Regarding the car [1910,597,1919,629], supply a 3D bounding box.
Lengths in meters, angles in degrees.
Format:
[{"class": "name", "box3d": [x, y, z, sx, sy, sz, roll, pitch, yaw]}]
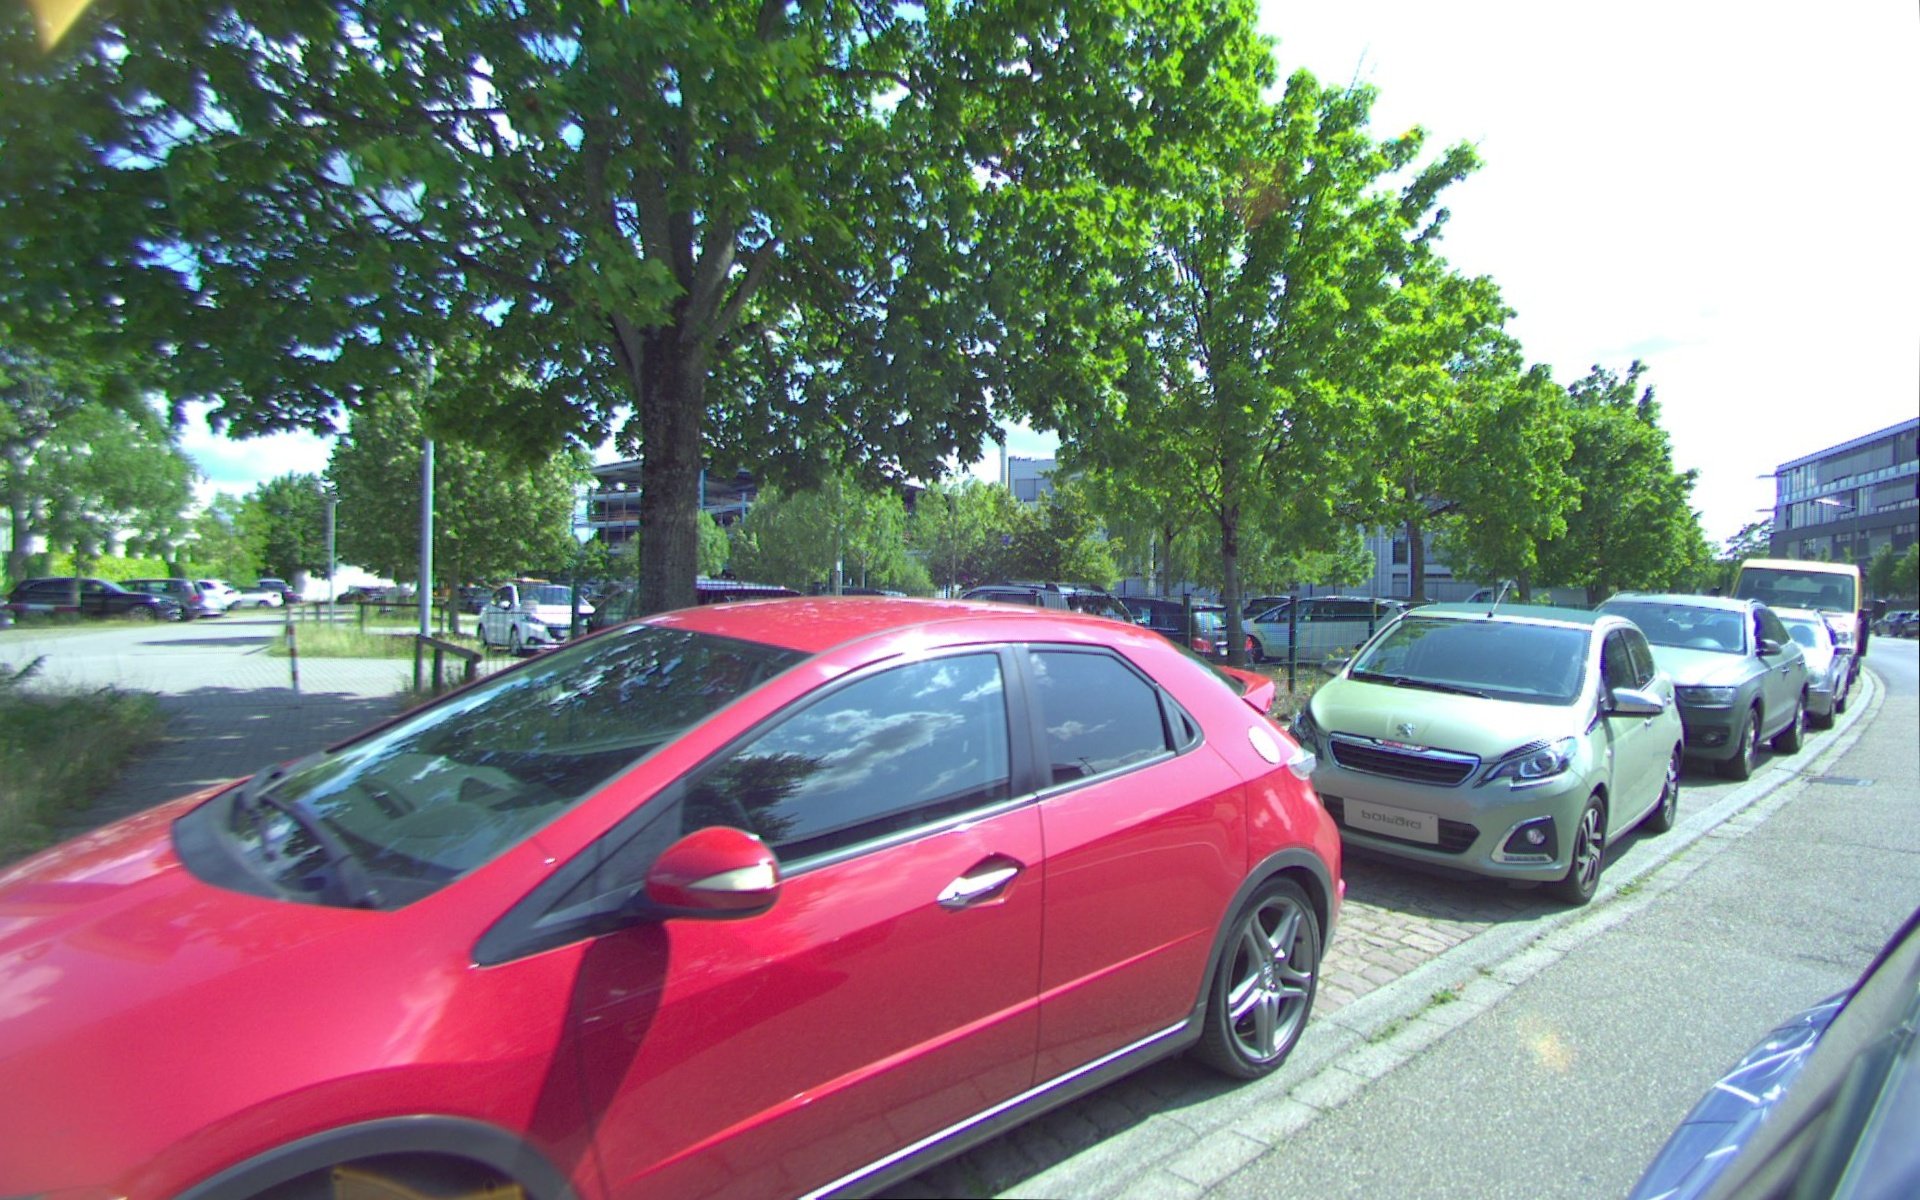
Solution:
[{"class": "car", "box3d": [50.461, 0.702, 51.720, 1.724, 1.677, 4.266, 0, 0, 29]}]

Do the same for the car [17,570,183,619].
[{"class": "car", "box3d": [-28.850, -0.200, 34.113, 3.917, 1.568, 1.743, 0, 1, -25]}]

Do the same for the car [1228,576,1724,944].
[{"class": "car", "box3d": [3.410, 0.675, 6.330, 1.700, 1.504, 3.747, 6, 4, 43]}]

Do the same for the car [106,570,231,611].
[{"class": "car", "box3d": [-32.697, -0.376, 41.938, 3.808, 1.613, 1.912, 0, -1, -28]}]

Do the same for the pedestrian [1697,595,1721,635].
[{"class": "pedestrian", "box3d": [33.588, 0.656, 45.381, 0.718, 1.714, 0.731, 4, 2, 33]}]

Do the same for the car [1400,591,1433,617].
[{"class": "car", "box3d": [29.532, 0.258, 65.517, 1.806, 1.669, 3.311, -1, -1, 22]}]

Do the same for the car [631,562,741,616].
[{"class": "car", "box3d": [-11.552, -0.419, 42.521, 4.920, 2.131, 2.080, -1, -1, 41]}]

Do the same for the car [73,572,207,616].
[{"class": "car", "box3d": [-30.313, -0.237, 37.541, 3.579, 1.568, 1.781, 0, 1, -27]}]

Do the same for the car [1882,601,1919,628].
[{"class": "car", "box3d": [52.939, 0.796, 56.051, 1.722, 1.463, 3.893, -1, -1, 27]}]

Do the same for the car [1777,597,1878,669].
[{"class": "car", "box3d": [20.890, 0.724, 24.339, 1.685, 1.513, 3.888, 3, 2, 42]}]

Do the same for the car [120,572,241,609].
[{"class": "car", "box3d": [-34.097, -0.441, 44.379, 3.918, 1.568, 1.756, 0, 1, -26]}]

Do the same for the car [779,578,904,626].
[{"class": "car", "box3d": [-4.127, 0.037, 34.987, 4.263, 1.576, 1.971, 1, 1, 41]}]

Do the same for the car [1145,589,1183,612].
[{"class": "car", "box3d": [14.490, 0.008, 71.913, 1.934, 1.567, 3.971, -1, 1, 22]}]

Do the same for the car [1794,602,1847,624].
[{"class": "car", "box3d": [59.556, 0.879, 70.110, 1.648, 1.415, 4.073, -1, 0, 24]}]

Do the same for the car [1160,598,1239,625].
[{"class": "car", "box3d": [13.249, 0.623, 56.064, 3.979, 1.392, 1.695, 1, 0, 38]}]

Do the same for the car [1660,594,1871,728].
[{"class": "car", "box3d": [11.670, 0.716, 14.510, 1.876, 1.495, 5.086, 5, 3, 43]}]

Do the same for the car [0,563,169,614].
[{"class": "car", "box3d": [-28.055, -0.374, 32.488, 3.918, 1.568, 1.743, 0, 1, -26]}]

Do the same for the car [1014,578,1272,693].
[{"class": "car", "box3d": [2.890, 0.473, 16.637, 1.876, 1.613, 3.883, 0, 1, -40]}]

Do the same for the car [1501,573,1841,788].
[{"class": "car", "box3d": [7.383, 0.631, 10.311, 4.490, 1.627, 1.836, 0, 4, -43]}]

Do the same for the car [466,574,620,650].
[{"class": "car", "box3d": [-8.672, 0.208, 20.909, 1.977, 1.413, 3.762, 1, 0, -39]}]

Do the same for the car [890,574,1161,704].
[{"class": "car", "box3d": [0.856, 0.454, 15.052, 1.876, 1.657, 3.883, 0, 1, -40]}]

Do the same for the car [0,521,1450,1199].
[{"class": "car", "box3d": [-0.473, 0.638, 2.872, 4.150, 1.504, 1.758, 0, 4, -40]}]

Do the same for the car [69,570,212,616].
[{"class": "car", "box3d": [-30.289, -0.241, 37.542, 3.808, 1.613, 1.912, 0, -1, -28]}]

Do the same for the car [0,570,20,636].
[{"class": "car", "box3d": [-23.518, 0.066, 22.270, 3.924, 1.472, 1.659, -1, 1, -35]}]

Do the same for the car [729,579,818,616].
[{"class": "car", "box3d": [-8.416, -0.091, 45.572, 3.982, 1.577, 1.863, -1, -1, 41]}]

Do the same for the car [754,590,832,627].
[{"class": "car", "box3d": [-10.947, 0.566, 66.112, 5.330, 2.328, 2.036, -1, -1, 41]}]

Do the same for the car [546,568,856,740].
[{"class": "car", "box3d": [-3.167, 0.456, 11.748, 1.876, 1.613, 4.218, 0, 1, -40]}]

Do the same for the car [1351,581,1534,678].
[{"class": "car", "box3d": [14.029, 0.791, 29.565, 4.330, 1.687, 1.831, 17, 10, 37]}]

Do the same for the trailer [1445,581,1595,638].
[{"class": "trailer", "box3d": [22.207, 0.316, 40.200, 5.033, 2.108, 2.034, 1, 0, 36]}]

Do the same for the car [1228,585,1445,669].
[{"class": "car", "box3d": [8.537, 0.538, 23.146, 4.309, 1.641, 1.739, 3, 1, 39]}]

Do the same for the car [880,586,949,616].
[{"class": "car", "box3d": [-2.798, 0.094, 62.102, 3.981, 1.793, 1.971, -1, -1, 40]}]

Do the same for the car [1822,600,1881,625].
[{"class": "car", "box3d": [57.387, 0.810, 65.220, 1.648, 1.550, 3.967, -1, -1, 24]}]

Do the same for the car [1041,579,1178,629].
[{"class": "car", "box3d": [5.149, 0.114, 35.253, 4.473, 1.661, 1.812, 1, 0, 40]}]

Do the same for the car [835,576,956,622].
[{"class": "car", "box3d": [-2.382, -0.068, 36.751, 4.263, 1.576, 1.971, 1, 1, 41]}]

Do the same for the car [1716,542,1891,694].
[{"class": "car", "box3d": [16.646, 0.252, 19.807, 2.157, 2.495, 6.535, 2, 2, 43]}]

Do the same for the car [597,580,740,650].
[{"class": "car", "box3d": [-6.606, 0.284, 22.678, 1.809, 1.413, 4.016, 1, 0, -36]}]

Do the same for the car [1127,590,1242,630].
[{"class": "car", "box3d": [8.752, 0.365, 39.642, 1.700, 1.455, 4.164, 1, 0, -43]}]

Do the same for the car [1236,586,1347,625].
[{"class": "car", "box3d": [16.346, 0.251, 50.016, 4.838, 1.789, 1.890, 1, 1, 37]}]

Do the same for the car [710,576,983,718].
[{"class": "car", "box3d": [-1.669, 0.504, 13.784, 1.876, 1.613, 3.883, 0, 1, -40]}]

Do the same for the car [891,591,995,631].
[{"class": "car", "box3d": [-0.684, 0.419, 38.904, 3.741, 1.431, 1.728, 0, -3, 38]}]
